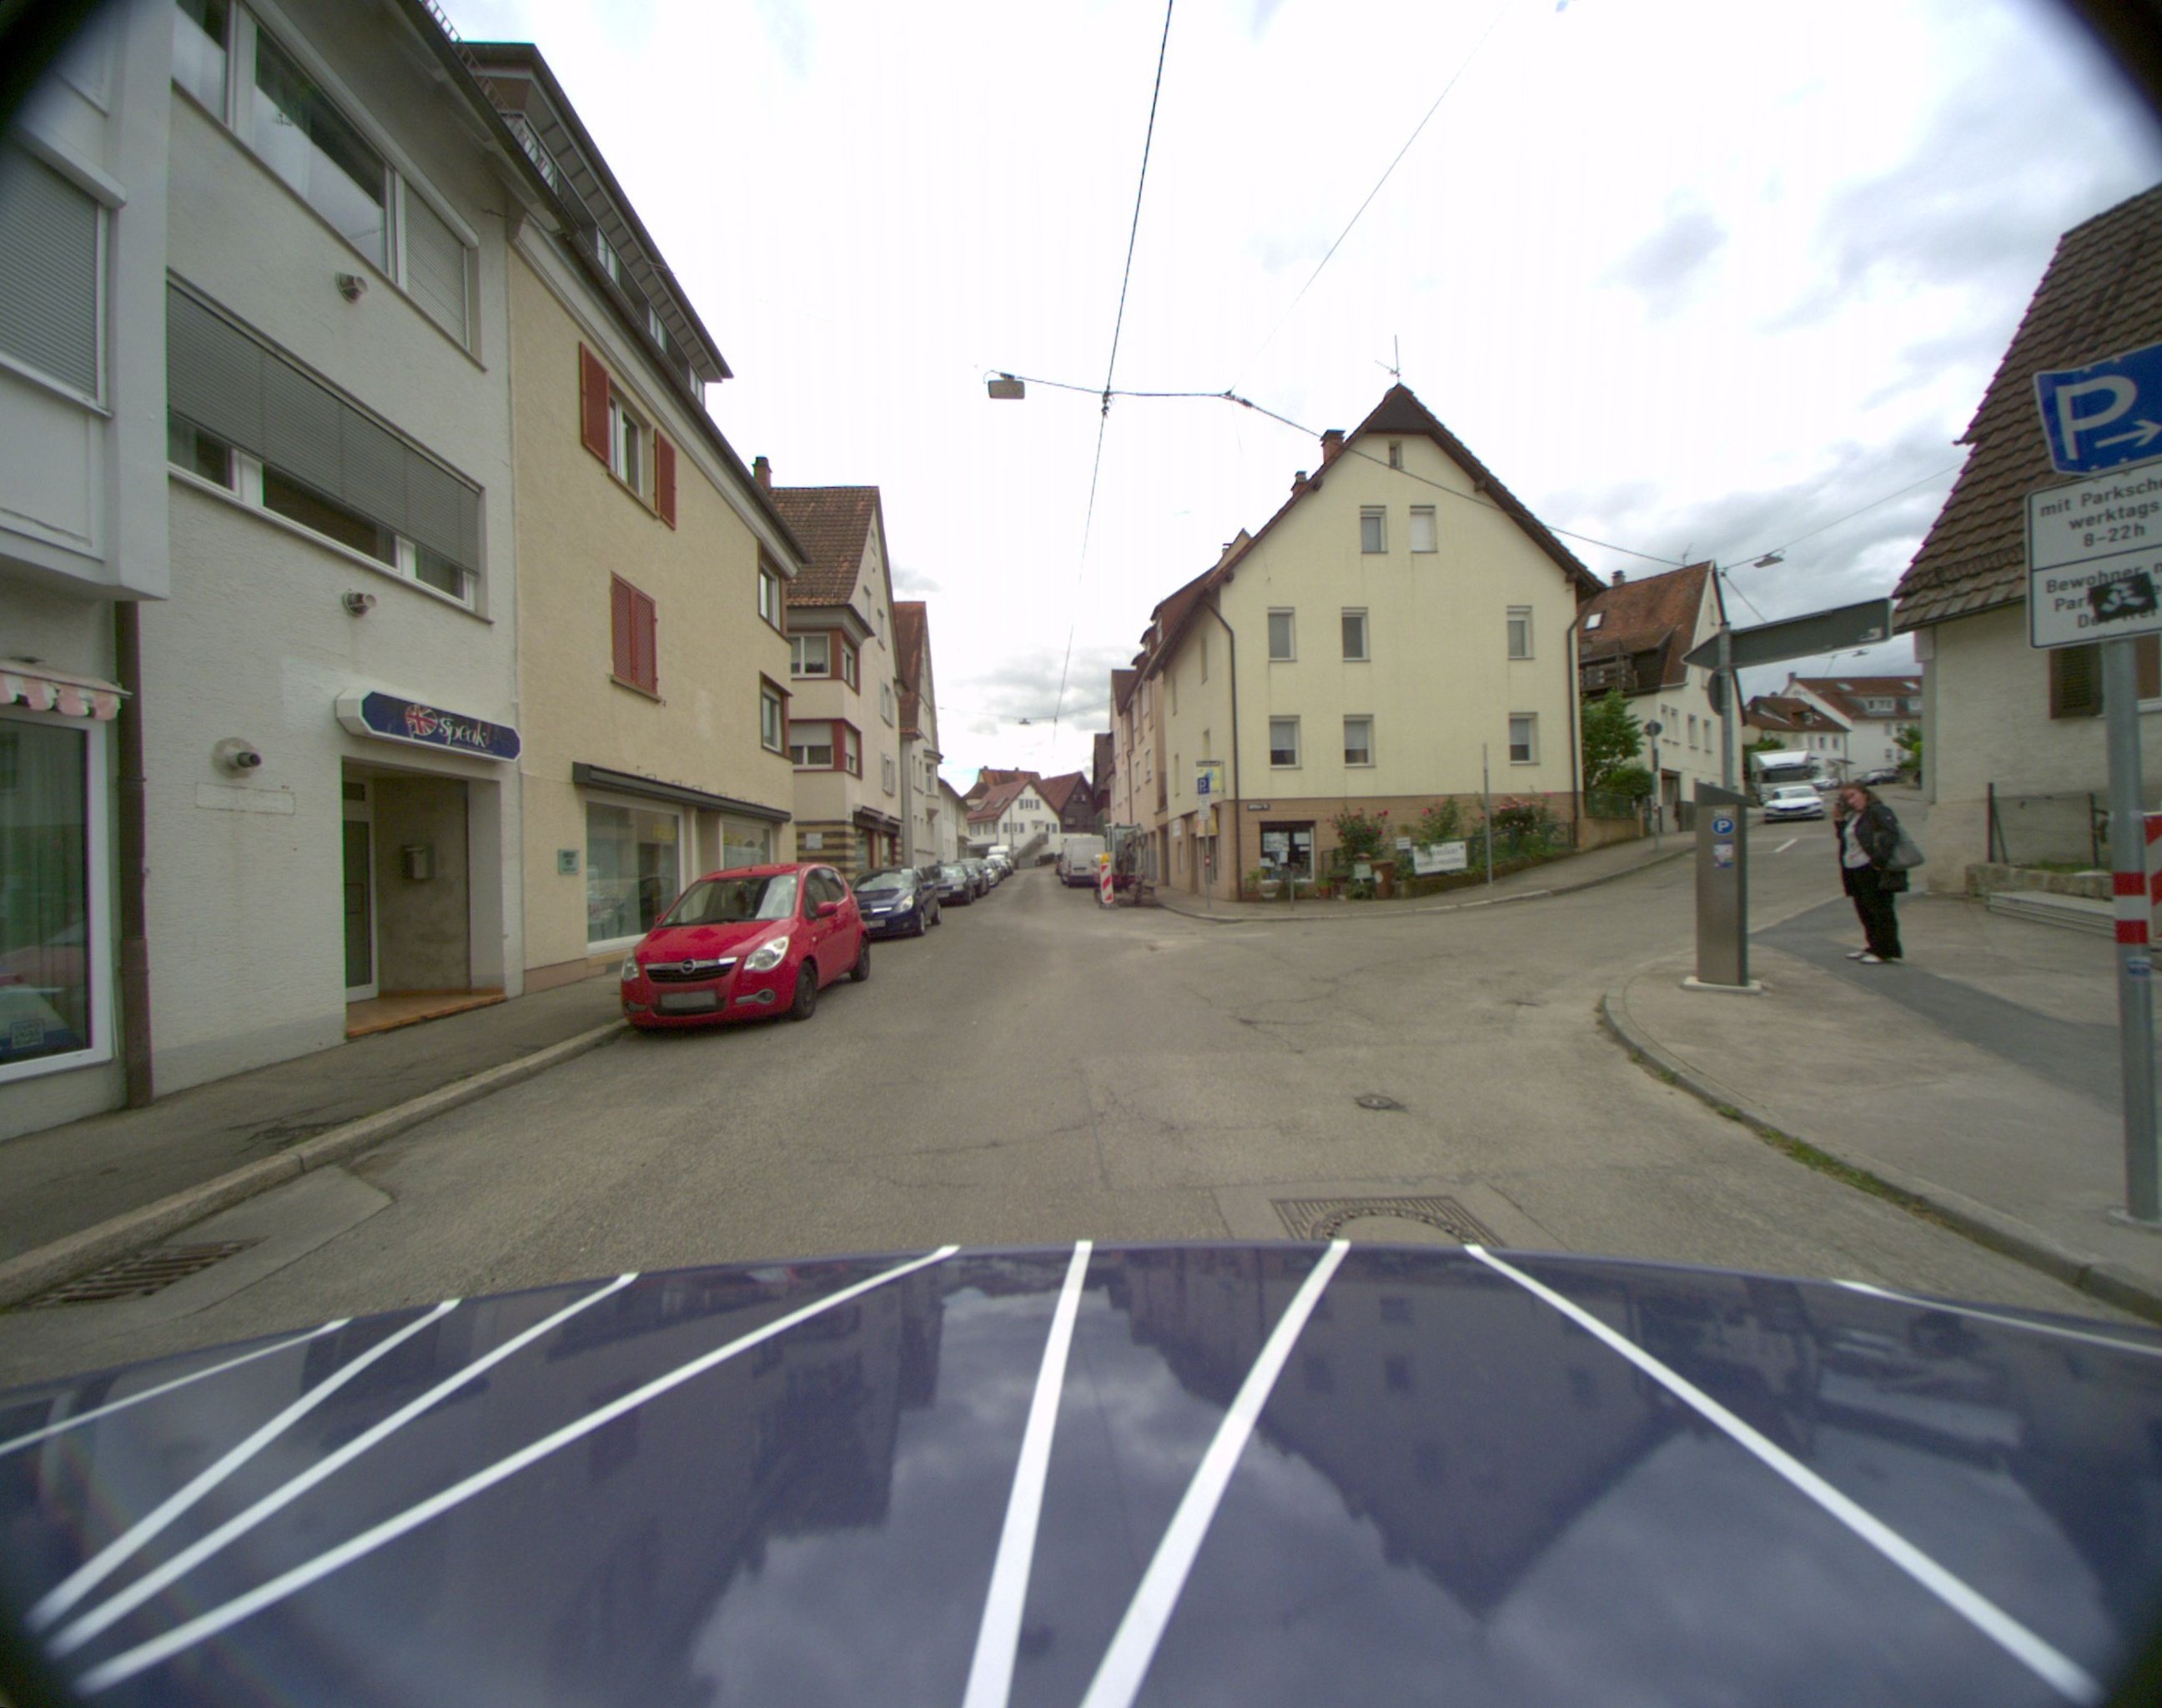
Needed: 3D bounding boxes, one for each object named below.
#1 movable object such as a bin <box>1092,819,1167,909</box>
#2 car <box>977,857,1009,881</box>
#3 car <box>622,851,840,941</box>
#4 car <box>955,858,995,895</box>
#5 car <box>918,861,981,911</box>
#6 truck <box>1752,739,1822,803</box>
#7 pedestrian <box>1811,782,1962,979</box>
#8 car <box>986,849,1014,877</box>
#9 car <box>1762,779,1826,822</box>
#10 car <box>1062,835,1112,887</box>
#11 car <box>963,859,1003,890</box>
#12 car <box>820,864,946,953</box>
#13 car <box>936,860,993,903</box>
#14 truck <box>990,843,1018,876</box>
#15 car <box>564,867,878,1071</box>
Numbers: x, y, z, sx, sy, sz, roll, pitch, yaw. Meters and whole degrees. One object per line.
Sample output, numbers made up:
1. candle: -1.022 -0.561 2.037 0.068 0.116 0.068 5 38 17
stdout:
1. movable object such as a bin: 1.389 0.256 23.503 1.572 2.486 4.671 -1 0 -6
2. car: -5.912 0.994 51.514 1.696 1.382 3.713 -5 1 -2
3. car: -9.461 1.086 20.897 4.899 1.855 1.952 -6 1 -2
4. car: -5.038 1.041 36.280 1.697 1.510 4.101 -5 1 -7
5. car: -4.413 1.023 25.980 1.696 1.395 3.999 -4 0 -5
6. truck: 46.240 -5.318 49.947 2.678 3.576 8.119 -5 1 39
7. pedestrian: 7.264 0.236 6.888 0.647 1.675 0.605 -4 1 15
8. car: -6.391 0.662 60.264 1.696 1.992 4.092 -5 1 -2
9. car: 30.471 -2.308 32.427 1.796 1.437 4.304 -5 2 45
10. car: 0.201 0.323 38.531 1.999 2.374 6.618 -1 0 -4
11. car: -5.284 1.084 41.447 1.696 1.382 3.800 -5 1 -2
12. car: -4.079 1.056 16.292 1.696 1.441 3.919 -5 1 -3
13. car: -4.688 1.050 31.087 1.696 1.441 4.102 -5 1 -2
14. truck: -6.647 0.434 65.730 1.826 2.580 4.779 -5 1 -2
15. car: -3.590 1.022 8.400 1.696 1.547 3.694 -4 1 -2
